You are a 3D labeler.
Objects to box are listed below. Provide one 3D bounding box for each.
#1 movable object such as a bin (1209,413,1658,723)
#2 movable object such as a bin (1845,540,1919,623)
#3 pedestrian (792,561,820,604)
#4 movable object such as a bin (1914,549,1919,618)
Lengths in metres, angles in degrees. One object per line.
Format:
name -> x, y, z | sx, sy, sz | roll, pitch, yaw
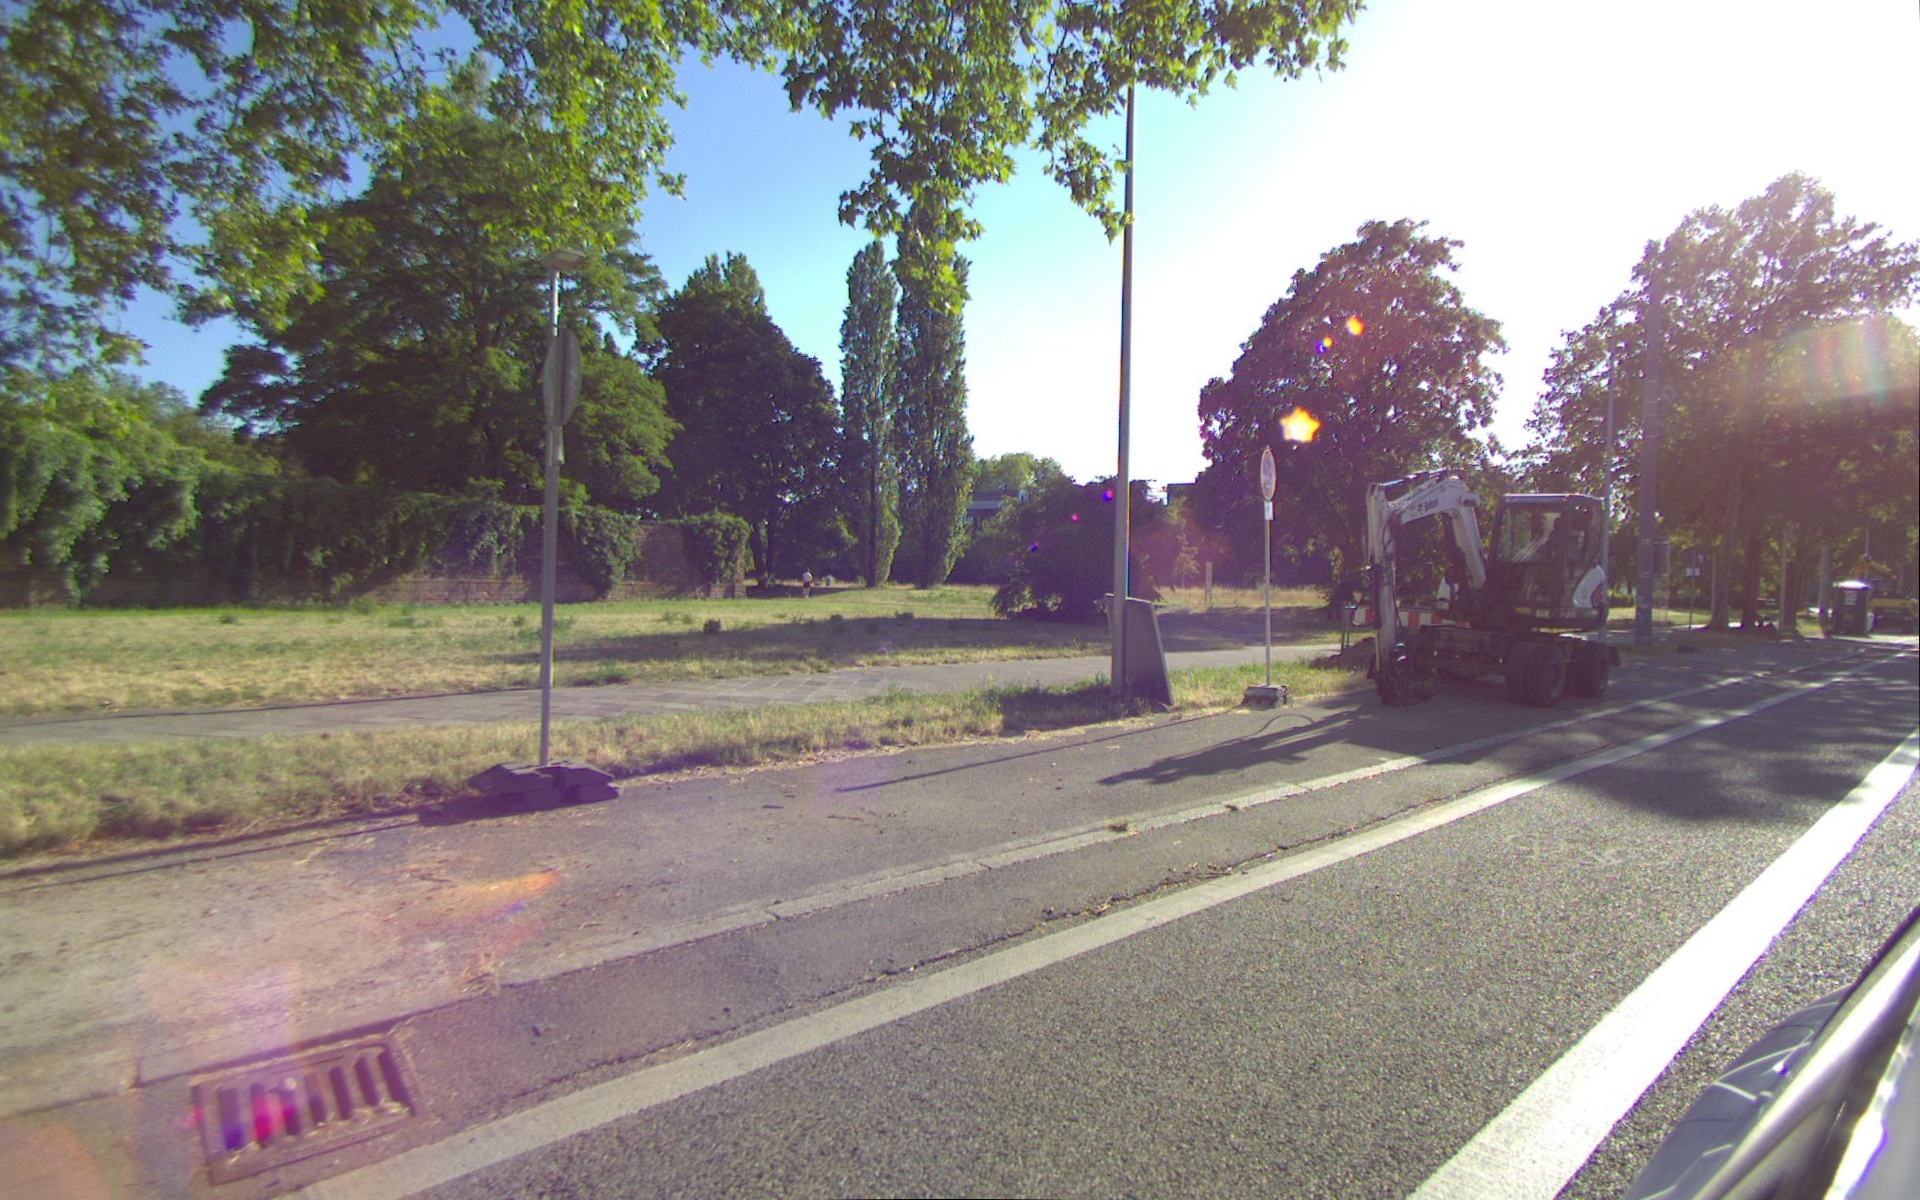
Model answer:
movable object such as a bin -> 6.717, -0.419, 13.778 | 7.093, 3.183, 2.751 | 0, 4, -41
movable object such as a bin -> 49.591, -0.968, 53.544 | 7.473, 4.024, 3.343 | 0, 4, -44
pedestrian -> -7.458, -0.854, 48.985 | 0.855, 2.039, 1.263 | -1, 0, 17
movable object such as a bin -> 64.659, -1.123, 66.061 | 7.473, 4.665, 2.918 | 0, 4, -44
